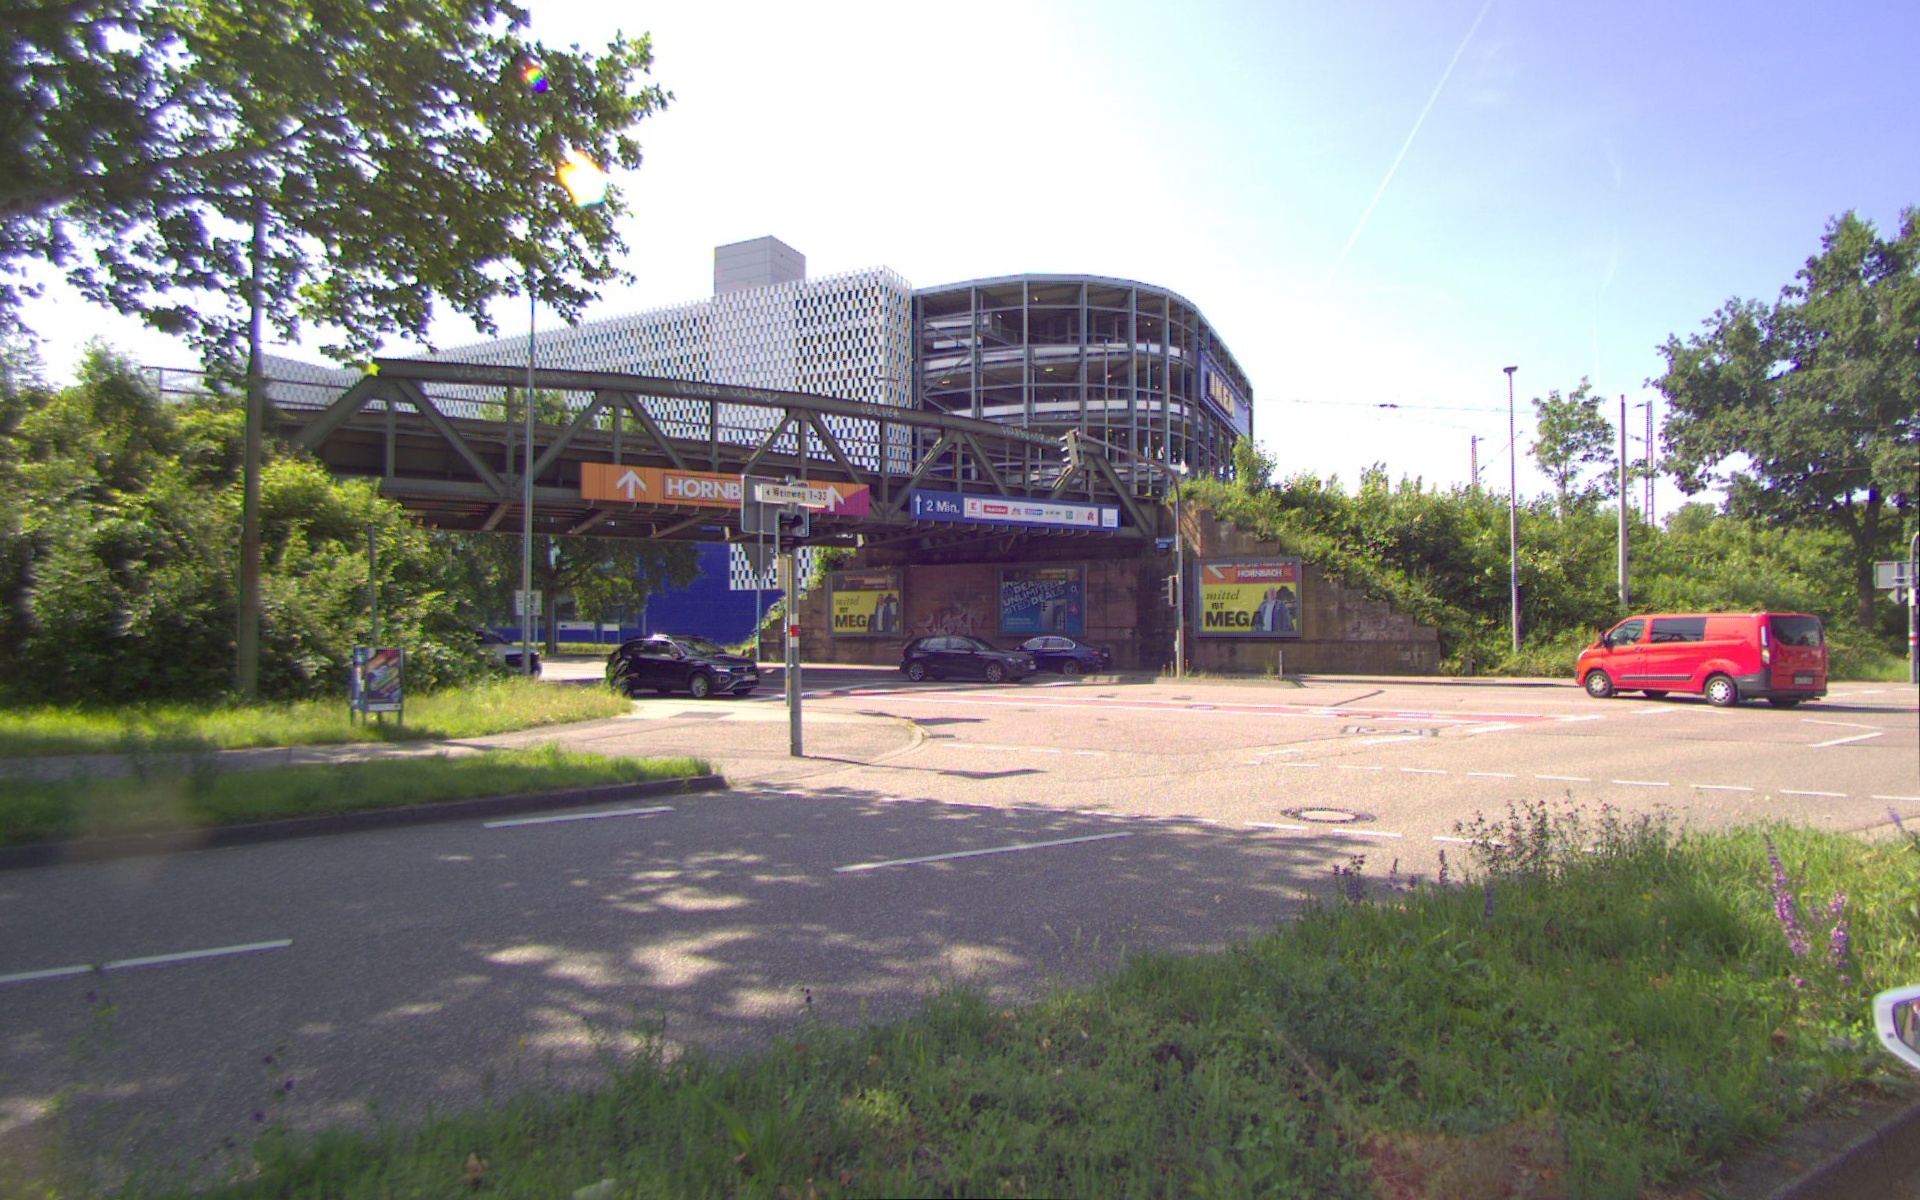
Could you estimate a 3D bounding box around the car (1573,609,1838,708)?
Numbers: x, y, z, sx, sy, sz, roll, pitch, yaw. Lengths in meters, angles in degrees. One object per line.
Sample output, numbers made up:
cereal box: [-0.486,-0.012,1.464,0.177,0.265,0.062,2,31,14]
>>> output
car: [16.323,1.252,22.343,1.941,1.950,4.549,1,-2,-14]

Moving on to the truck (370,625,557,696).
truck: [-14.324,1.684,28.952,5.225,1.844,2.031,-1,0,25]

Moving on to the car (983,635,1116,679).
car: [3.088,1.940,34.731,4.243,1.415,1.791,-1,-2,24]

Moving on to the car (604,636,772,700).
car: [-6.912,1.679,25.566,3.869,1.500,1.822,-1,-2,25]

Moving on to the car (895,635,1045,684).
car: [0.302,1.769,30.608,4.253,1.413,1.770,-1,-2,24]
